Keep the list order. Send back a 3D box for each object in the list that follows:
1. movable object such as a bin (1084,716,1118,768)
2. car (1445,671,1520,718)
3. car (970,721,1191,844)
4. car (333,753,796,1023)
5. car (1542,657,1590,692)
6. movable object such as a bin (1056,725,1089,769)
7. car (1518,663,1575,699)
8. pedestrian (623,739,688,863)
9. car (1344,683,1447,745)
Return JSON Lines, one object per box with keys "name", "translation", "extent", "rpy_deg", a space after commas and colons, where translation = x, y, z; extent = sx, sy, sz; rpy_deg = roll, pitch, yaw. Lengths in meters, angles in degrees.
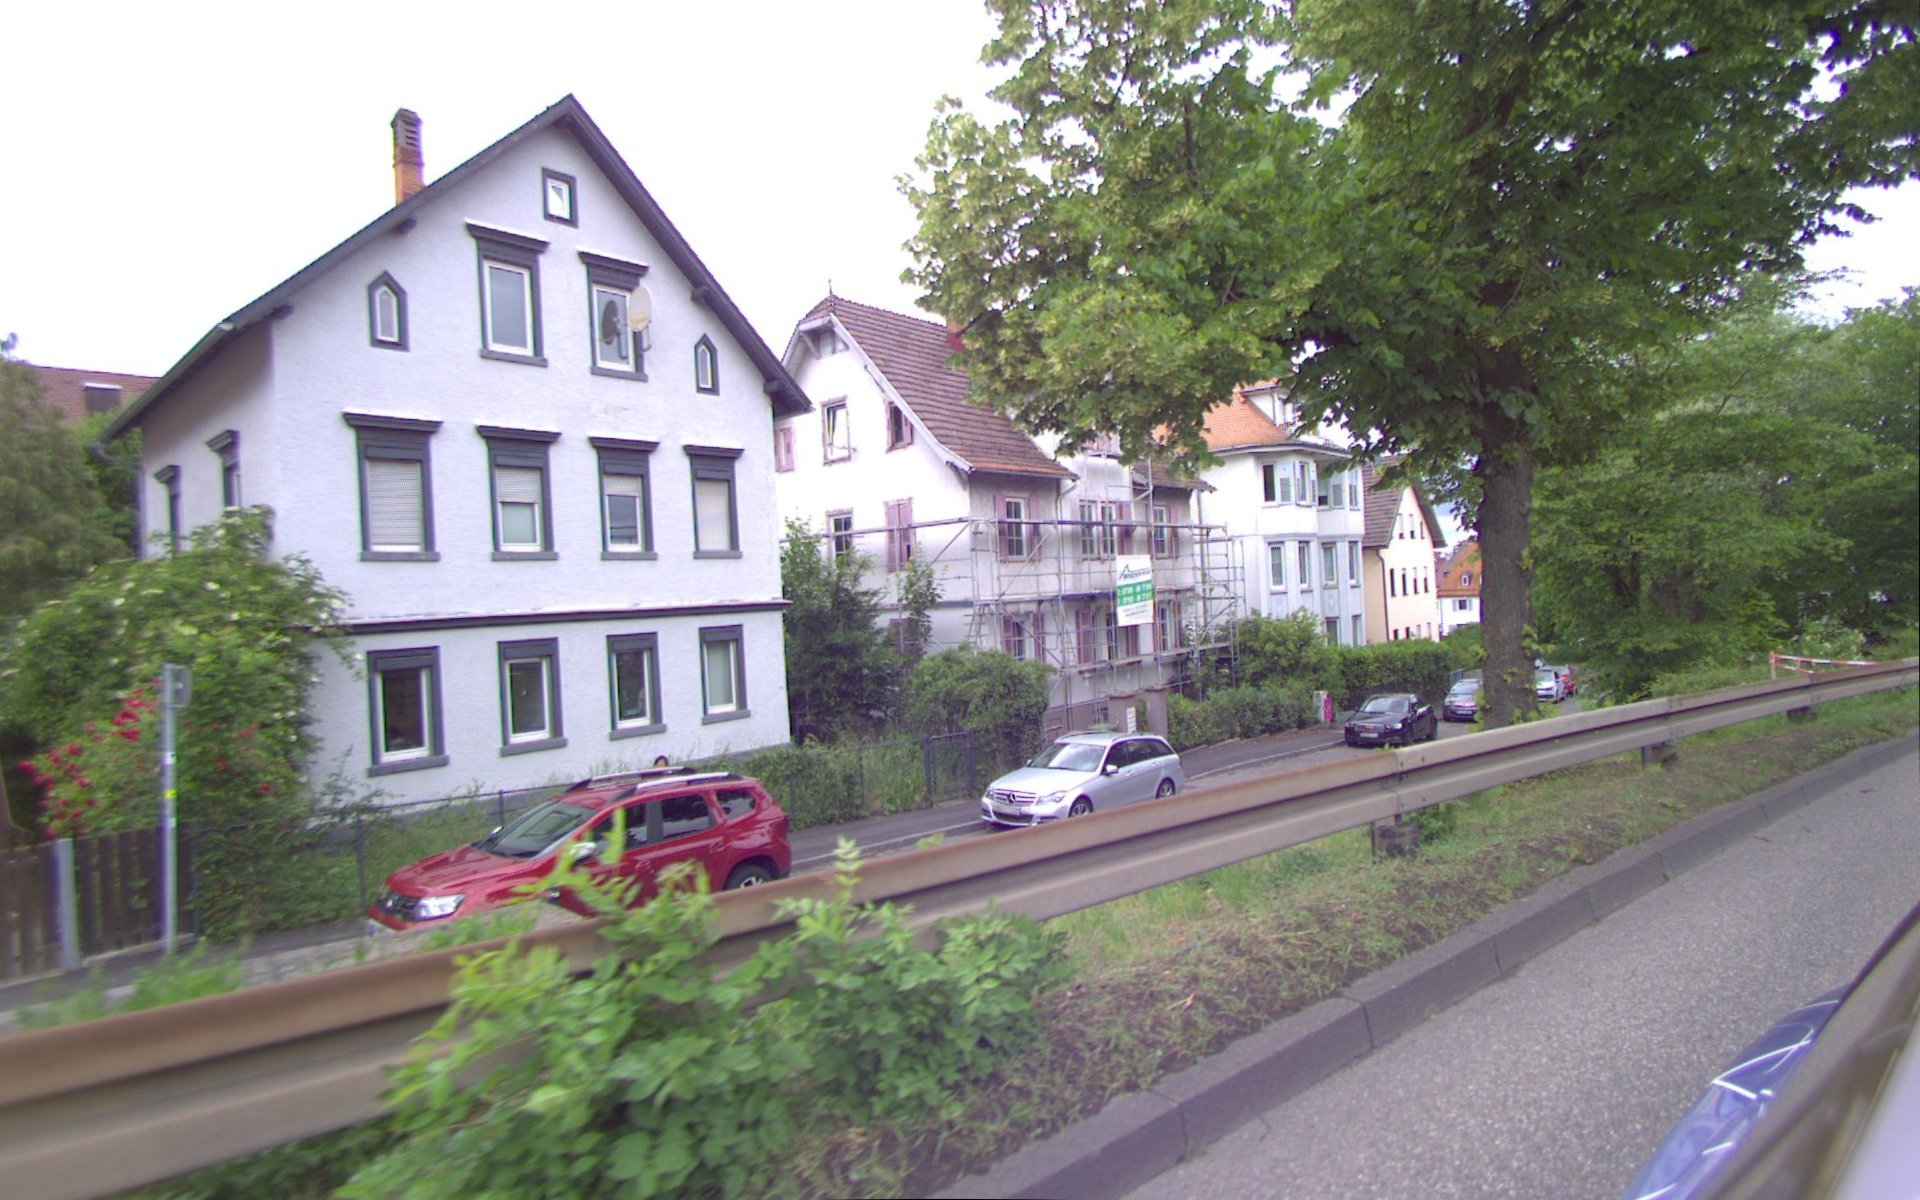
{"name": "movable object such as a bin", "translation": [3.251, 3.259, 23.308], "extent": [0.529, 1.092, 0.579], "rpy_deg": [0, 0, -43]}
{"name": "car", "translation": [19.051, 3.398, 36.800], "extent": [1.615, 1.467, 3.972], "rpy_deg": [-4, -3, 39]}
{"name": "car", "translation": [2.200, 3.008, 17.466], "extent": [1.616, 1.460, 4.367], "rpy_deg": [-4, -3, 40]}
{"name": "car", "translation": [-3.898, 2.701, 10.521], "extent": [1.780, 1.692, 4.139], "rpy_deg": [-4, -3, 42]}
{"name": "car", "translation": [30.095, 3.654, 50.208], "extent": [1.614, 1.541, 4.247], "rpy_deg": [-3, -3, 36]}
{"name": "movable object such as a bin", "translation": [2.612, 3.414, 23.524], "extent": [0.570, 0.894, 0.537], "rpy_deg": [0, 0, -42]}
{"name": "car", "translation": [26.577, 3.647, 45.803], "extent": [1.642, 1.413, 3.716], "rpy_deg": [-4, -3, 39]}
{"name": "pedestrian", "translation": [-4.052, 2.646, 13.469], "extent": [0.617, 1.500, 0.580], "rpy_deg": [-4, -4, 43]}
{"name": "car", "translation": [12.787, 3.276, 29.621], "extent": [1.616, 1.467, 3.997], "rpy_deg": [-4, -3, 40]}
